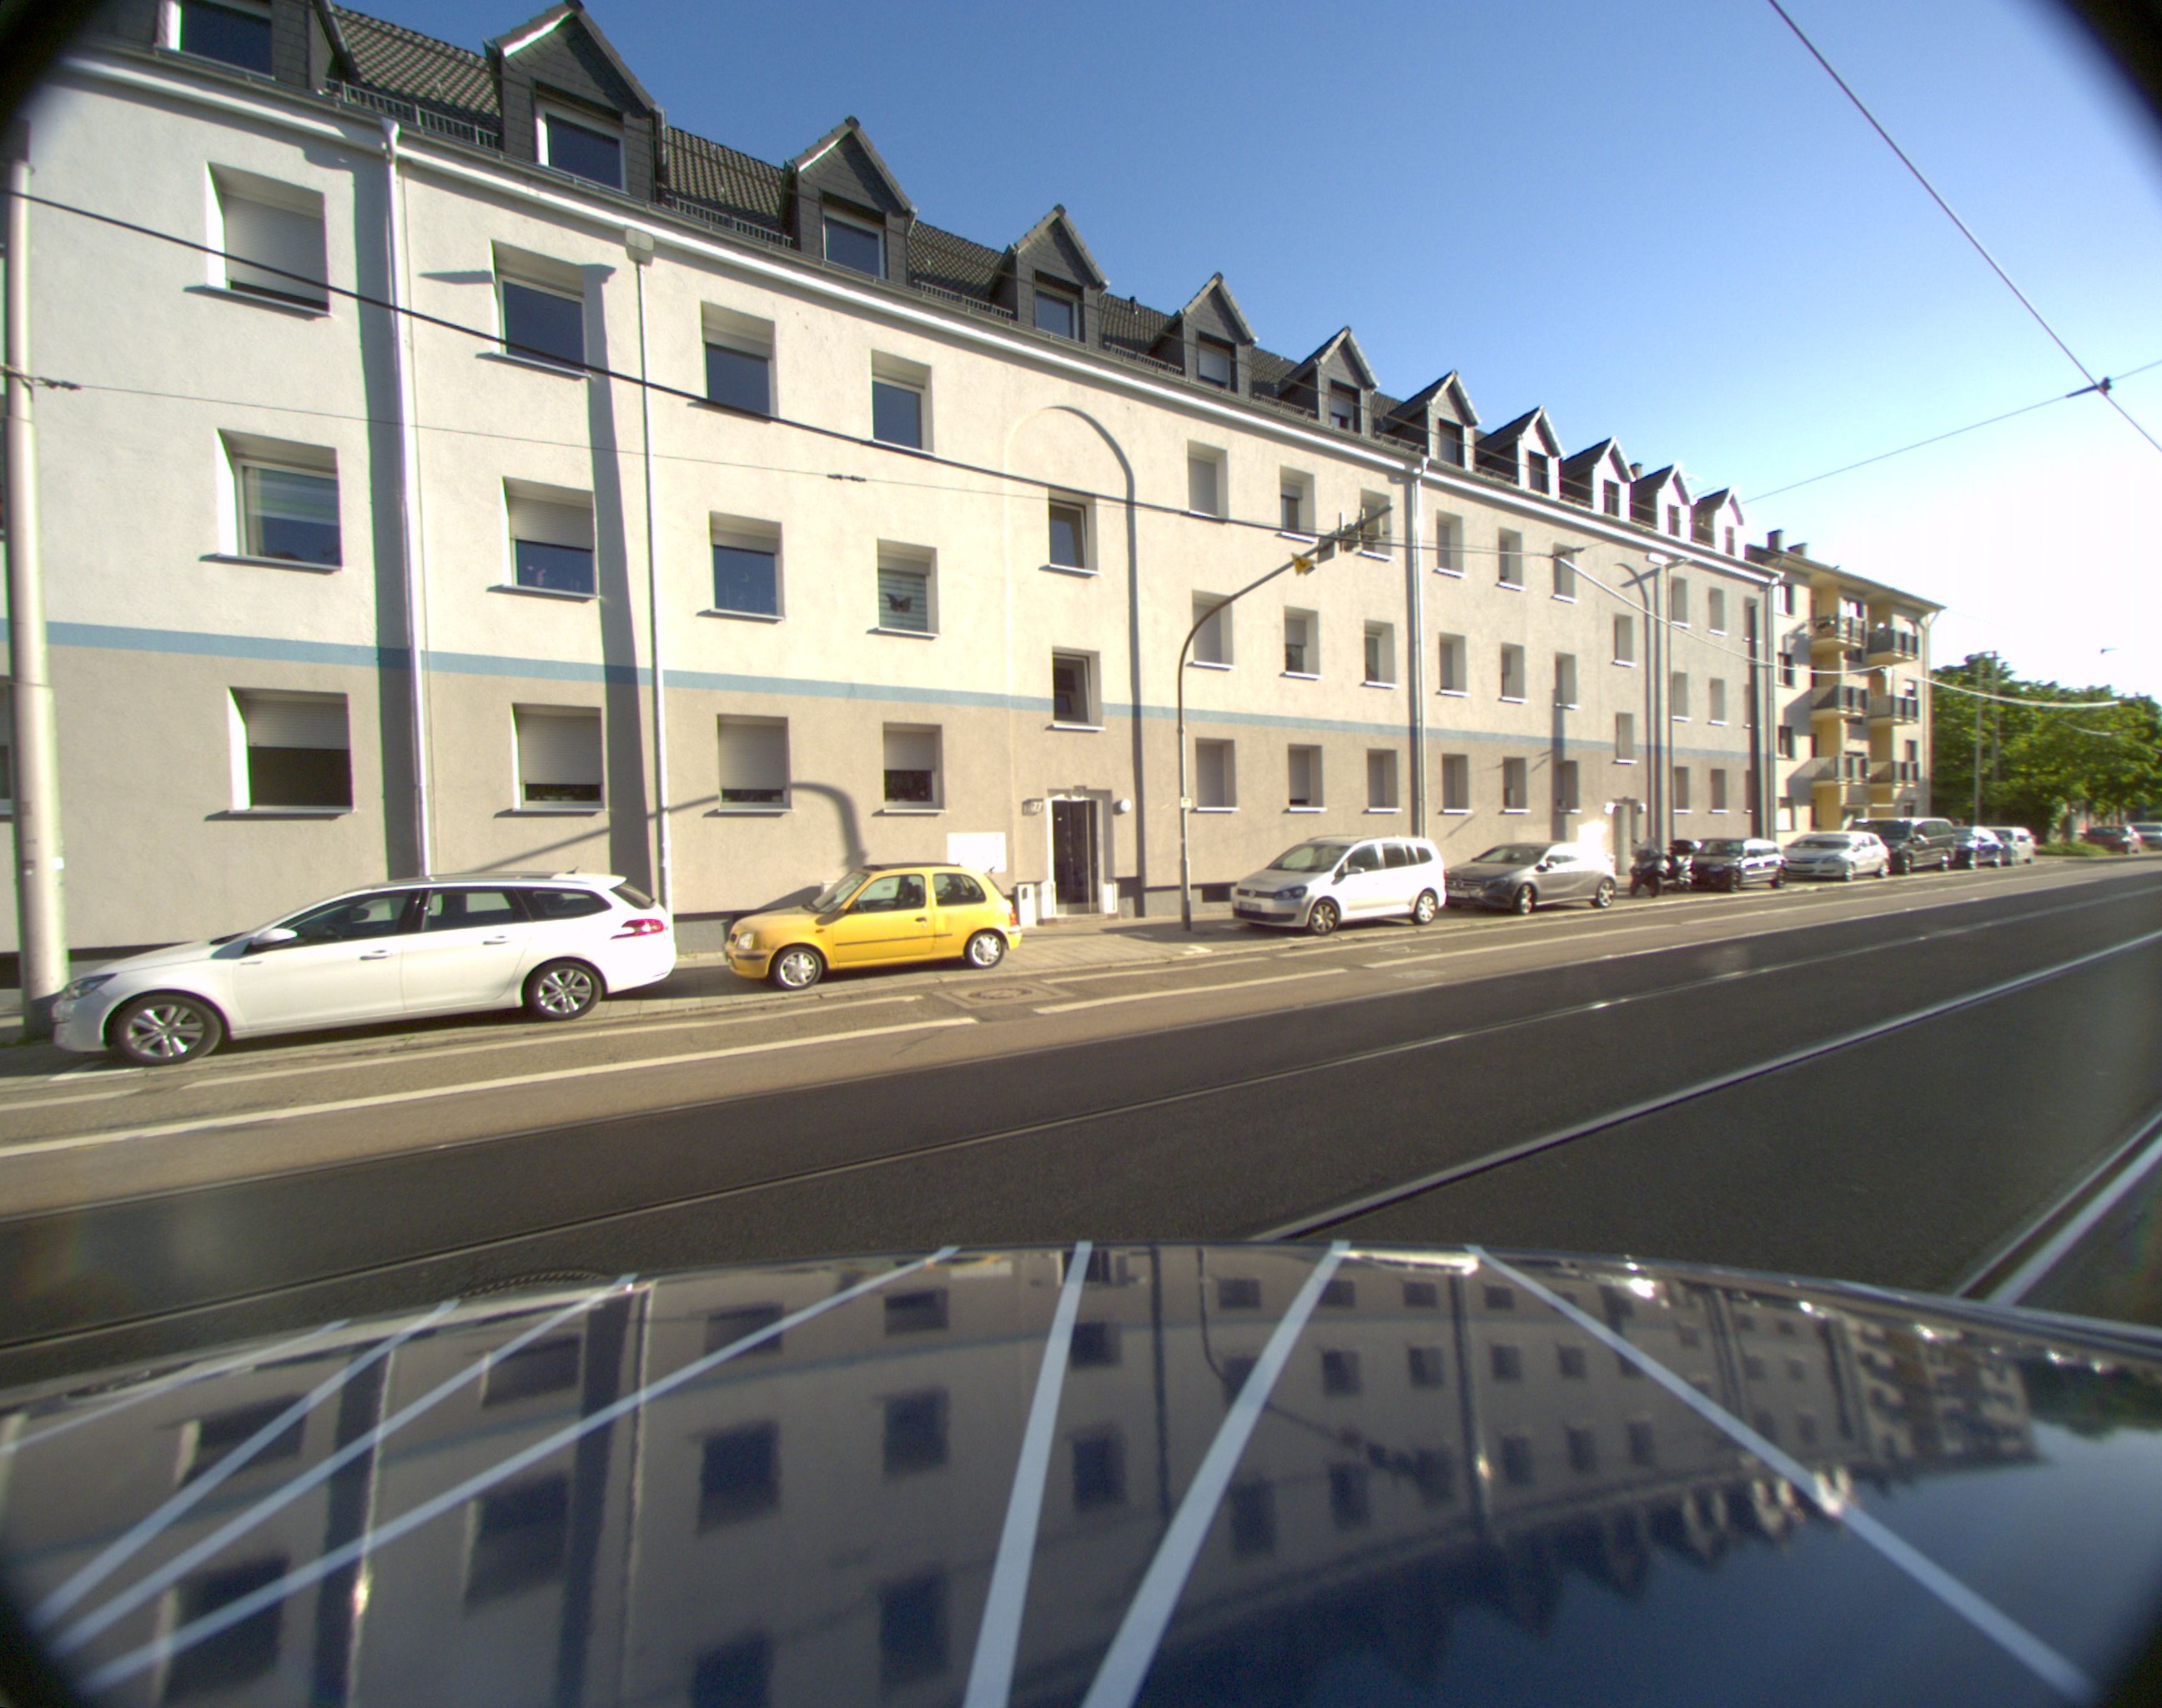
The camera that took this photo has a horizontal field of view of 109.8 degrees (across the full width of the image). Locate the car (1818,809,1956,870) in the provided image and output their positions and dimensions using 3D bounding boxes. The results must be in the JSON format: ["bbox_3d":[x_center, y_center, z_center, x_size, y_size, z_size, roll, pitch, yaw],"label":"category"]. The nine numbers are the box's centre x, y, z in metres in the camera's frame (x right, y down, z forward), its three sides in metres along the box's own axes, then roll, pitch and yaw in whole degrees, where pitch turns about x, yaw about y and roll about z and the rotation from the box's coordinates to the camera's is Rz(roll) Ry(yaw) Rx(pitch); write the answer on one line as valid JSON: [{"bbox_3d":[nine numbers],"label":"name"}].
[{"bbox_3d":[28.260,-0.552,26.622,5.010,1.911,1.931,-3,3,-27],"label":"car"}]

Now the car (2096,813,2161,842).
[{"bbox_3d":[61.737,-1.551,44.684,4.484,1.562,1.825,-3,3,-29],"label":"car"}]

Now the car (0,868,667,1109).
[{"bbox_3d":[-6.769,1.068,7.614,4.515,1.562,1.681,-3,3,-28],"label":"car"}]

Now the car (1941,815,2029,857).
[{"bbox_3d":[36.878,-0.757,30.997,3.637,1.534,1.554,-3,3,-28],"label":"car"}]

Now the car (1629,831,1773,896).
[{"bbox_3d":[17.144,0.195,20.996,3.909,1.562,1.610,-3,3,-27],"label":"car"}]

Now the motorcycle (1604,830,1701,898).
[{"bbox_3d":[14.097,0.212,18.729,2.712,1.513,0.806,-3,3,-27],"label":"motorcycle"}]

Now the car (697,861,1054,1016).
[{"bbox_3d":[-2.601,0.935,9.950,4.206,1.423,1.515,-4,3,-28],"label":"car"}]

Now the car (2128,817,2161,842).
[{"bbox_3d":[70.746,-1.623,49.834,4.484,1.562,1.825,-3,3,-29],"label":"car"}]

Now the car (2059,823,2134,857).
[{"bbox_3d":[53.280,-0.755,39.850,4.484,1.562,1.610,-3,3,-28],"label":"car"}]

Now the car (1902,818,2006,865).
[{"bbox_3d":[32.948,-0.502,28.655,4.224,1.562,1.610,-3,3,-28],"label":"car"}]

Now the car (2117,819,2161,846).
[{"bbox_3d":[66.515,-1.373,47.297,4.484,1.562,1.825,-3,3,-29],"label":"car"}]

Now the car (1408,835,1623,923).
[{"bbox_3d":[9.383,0.441,16.377,4.371,1.546,1.865,-3,3,-25],"label":"car"}]

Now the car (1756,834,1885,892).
[{"bbox_3d":[23.051,0.209,23.680,3.909,1.562,1.801,-3,3,-29],"label":"car"}]

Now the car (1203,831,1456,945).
[{"bbox_3d":[4.605,0.476,13.846,4.632,1.656,1.756,-3,3,-31],"label":"car"}]
